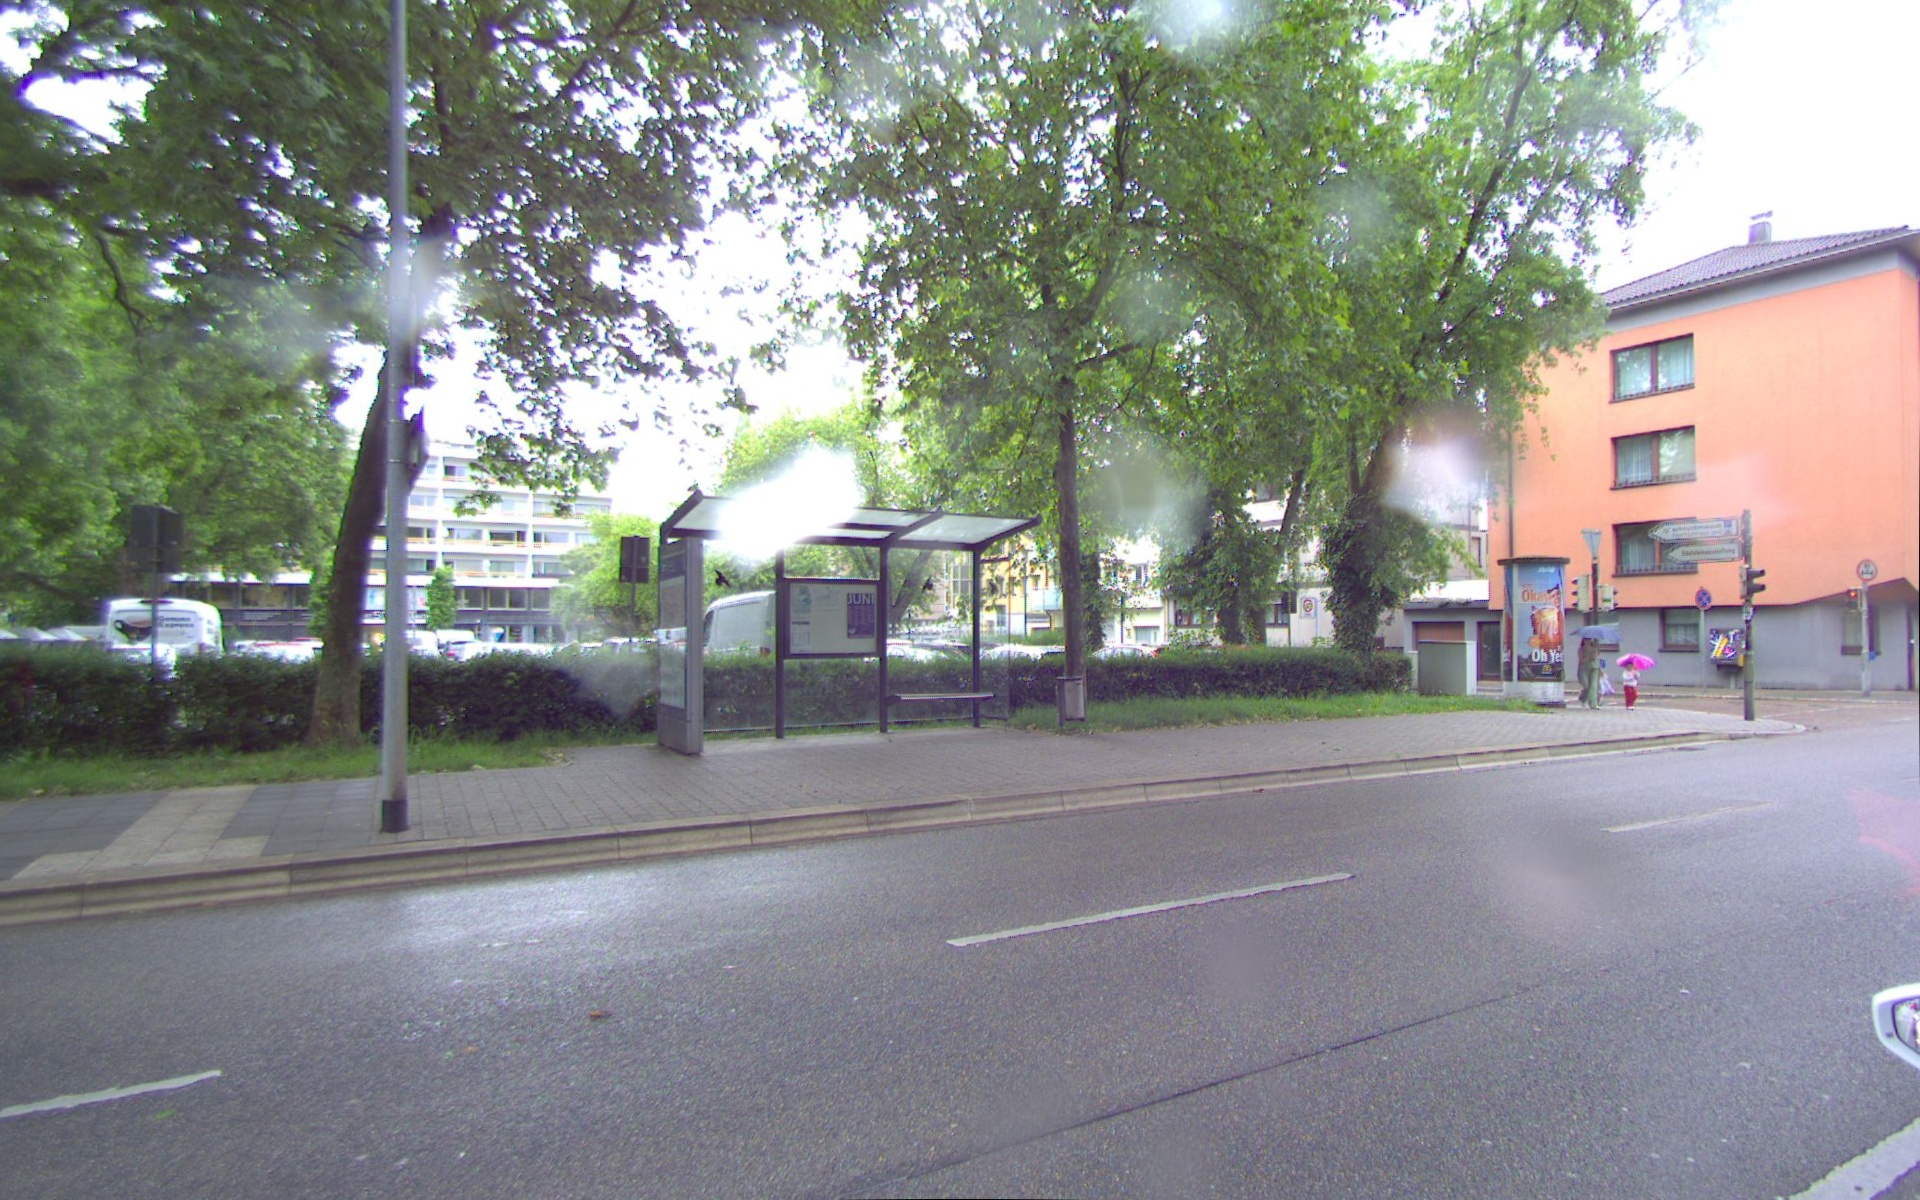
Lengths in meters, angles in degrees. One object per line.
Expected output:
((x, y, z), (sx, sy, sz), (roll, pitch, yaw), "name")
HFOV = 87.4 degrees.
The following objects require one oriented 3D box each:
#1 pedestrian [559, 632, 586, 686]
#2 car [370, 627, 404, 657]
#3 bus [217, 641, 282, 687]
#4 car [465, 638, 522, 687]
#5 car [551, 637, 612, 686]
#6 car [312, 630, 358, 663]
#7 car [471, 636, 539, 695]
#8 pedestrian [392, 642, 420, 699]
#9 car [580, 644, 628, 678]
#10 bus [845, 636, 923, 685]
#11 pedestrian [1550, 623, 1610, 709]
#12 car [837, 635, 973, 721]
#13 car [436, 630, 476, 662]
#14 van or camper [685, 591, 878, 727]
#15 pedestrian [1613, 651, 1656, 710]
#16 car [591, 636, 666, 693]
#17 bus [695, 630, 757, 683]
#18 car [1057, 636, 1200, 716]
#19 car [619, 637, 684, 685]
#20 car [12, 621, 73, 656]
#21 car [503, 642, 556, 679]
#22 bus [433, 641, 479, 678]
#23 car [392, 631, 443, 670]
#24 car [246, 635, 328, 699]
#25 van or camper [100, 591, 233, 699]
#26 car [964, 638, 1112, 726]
((-8.993, 1.365, 23.286), (0.462, 1.229, 0.434), (2, 0, -37), "pedestrian")
((-33.053, 2.393, 57.910), (1.622, 1.544, 3.174), (1, 1, -32), "car")
((-25.368, 2.264, 35.941), (1.587, 1.559, 3.403), (2, -3, -30), "bus")
((-14.553, 1.923, 31.275), (1.375, 1.454, 3.248), (1, -3, -29), "car")
((-11.969, 1.912, 31.676), (1.375, 1.454, 3.248), (1, -3, -29), "car")
((-31.432, 2.306, 50.579), (1.818, 1.444, 3.799), (2, 0, -31), "car")
((-12.101, 1.708, 26.643), (1.375, 1.454, 3.248), (1, -3, -29), "car")
((-12.271, 1.557, 22.233), (0.462, 1.229, 0.434), (2, 0, -37), "pedestrian")
((-15.208, 2.575, 42.823), (1.332, 1.401, 3.141), (2, -3, -30), "car")
((-2.425, 1.874, 31.459), (1.364, 1.451, 2.777), (2, -3, -30), "bus")
((13.450, 1.398, 21.824), (0.976, 1.765, 1.208), (1, 0, 27), "pedestrian")
((-1.222, 1.573, 21.181), (1.492, 1.544, 3.174), (2, 0, -32), "car")
((-27.189, 2.452, 54.141), (1.622, 1.544, 3.174), (2, 0, -32), "car")
((-3.441, 1.056, 18.687), (2.026, 2.198, 4.458), (2, -3, -32), "van or camper")
((14.636, 1.739, 21.814), (0.674, 1.190, 0.825), (1, 0, 27), "pedestrian")
((-9.123, 1.743, 27.499), (1.375, 1.454, 3.248), (1, -3, -29), "car")
((-7.841, 1.862, 33.517), (1.363, 1.698, 2.779), (1, -3, -28), "bus")
((3.793, 1.682, 23.035), (1.492, 1.544, 3.174), (2, 0, -32), "car")
((-10.004, 1.944, 32.469), (1.375, 1.454, 3.248), (1, -3, -29), "car")
((-40.813, 1.687, 44.741), (1.412, 1.447, 2.941), (1, 0, -30), "car")
((-17.707, 2.449, 41.232), (1.587, 1.447, 3.293), (2, -3, -30), "car")
((-22.382, 2.605, 44.565), (1.587, 1.559, 3.403), (2, -3, -30), "bus")
((-20.911, 1.941, 38.682), (1.587, 1.447, 3.293), (2, -3, -30), "car")
((-16.522, 1.620, 24.785), (1.375, 1.454, 3.248), (1, -3, -29), "car")
((-20.709, 1.182, 26.418), (2.074, 2.570, 4.391), (1, -3, -30), "van or camper")
((1.572, 1.657, 21.164), (1.492, 1.544, 3.174), (2, 0, -32), "car")
